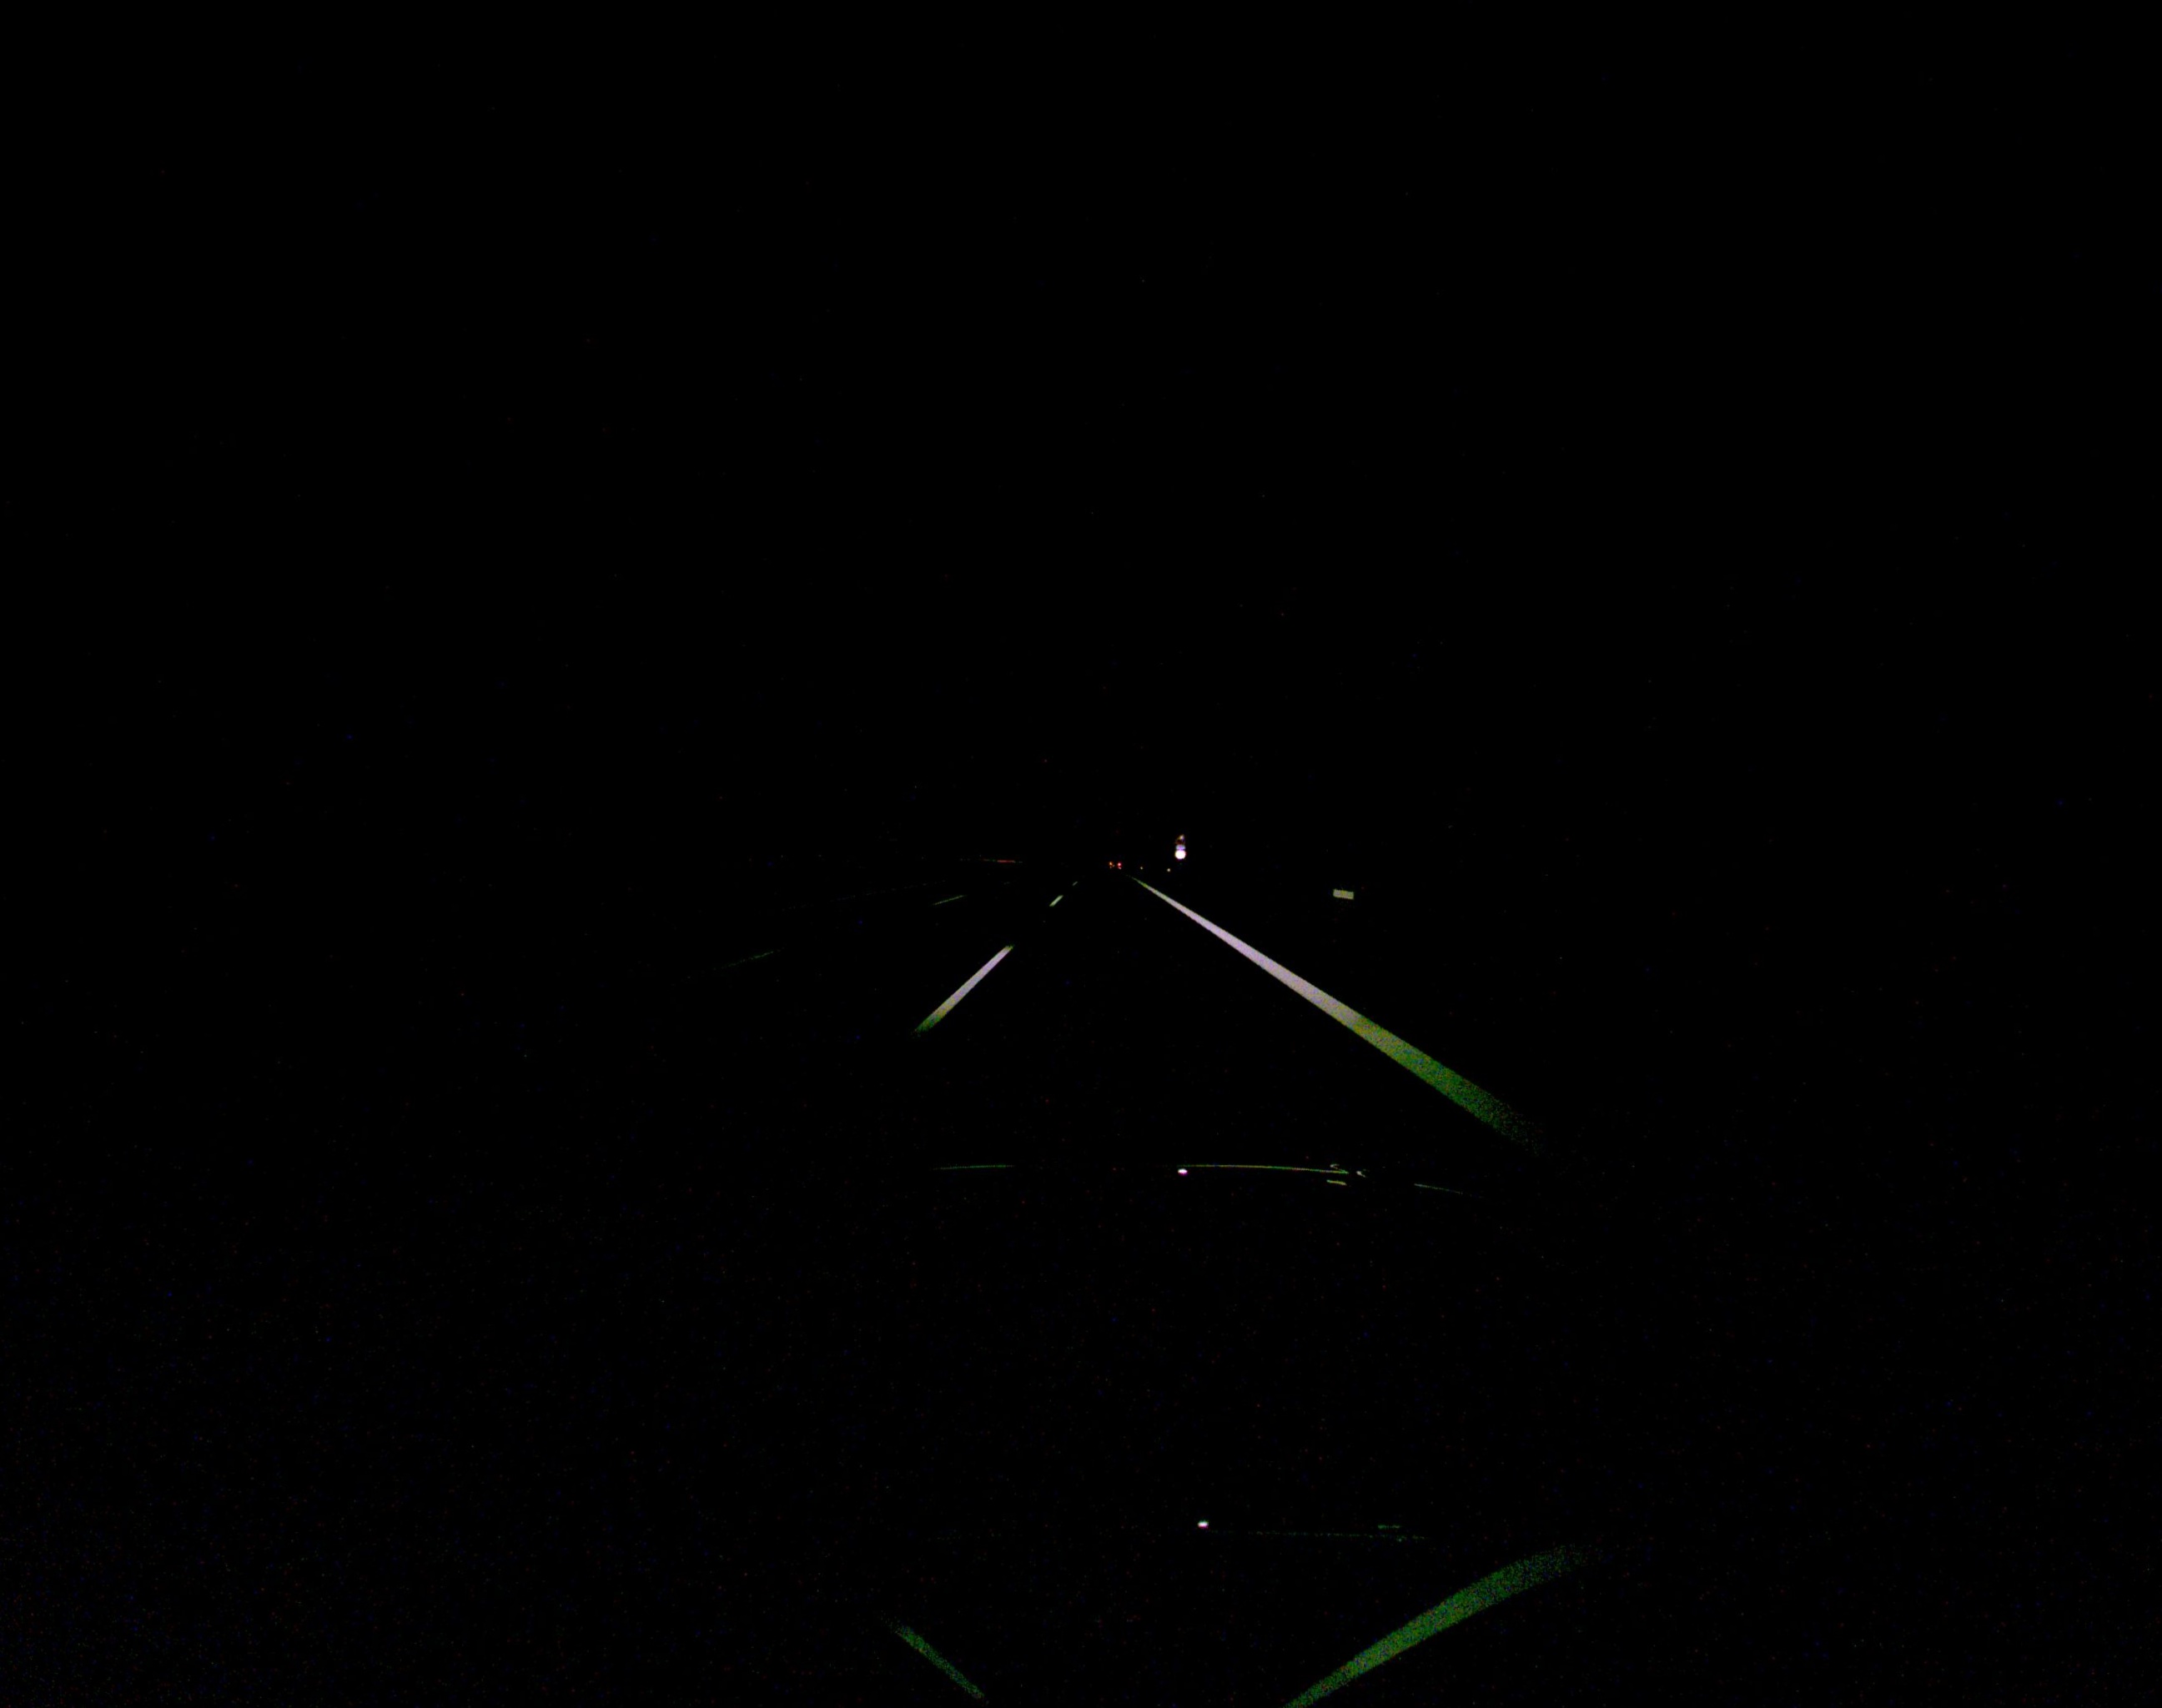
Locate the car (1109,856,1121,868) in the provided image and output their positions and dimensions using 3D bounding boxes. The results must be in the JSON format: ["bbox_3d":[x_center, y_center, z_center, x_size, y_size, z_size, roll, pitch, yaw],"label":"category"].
[{"bbox_3d":[7.312,1.660,175.269,2.517,2.553,6.056,0,0,3],"label":"car"}]
